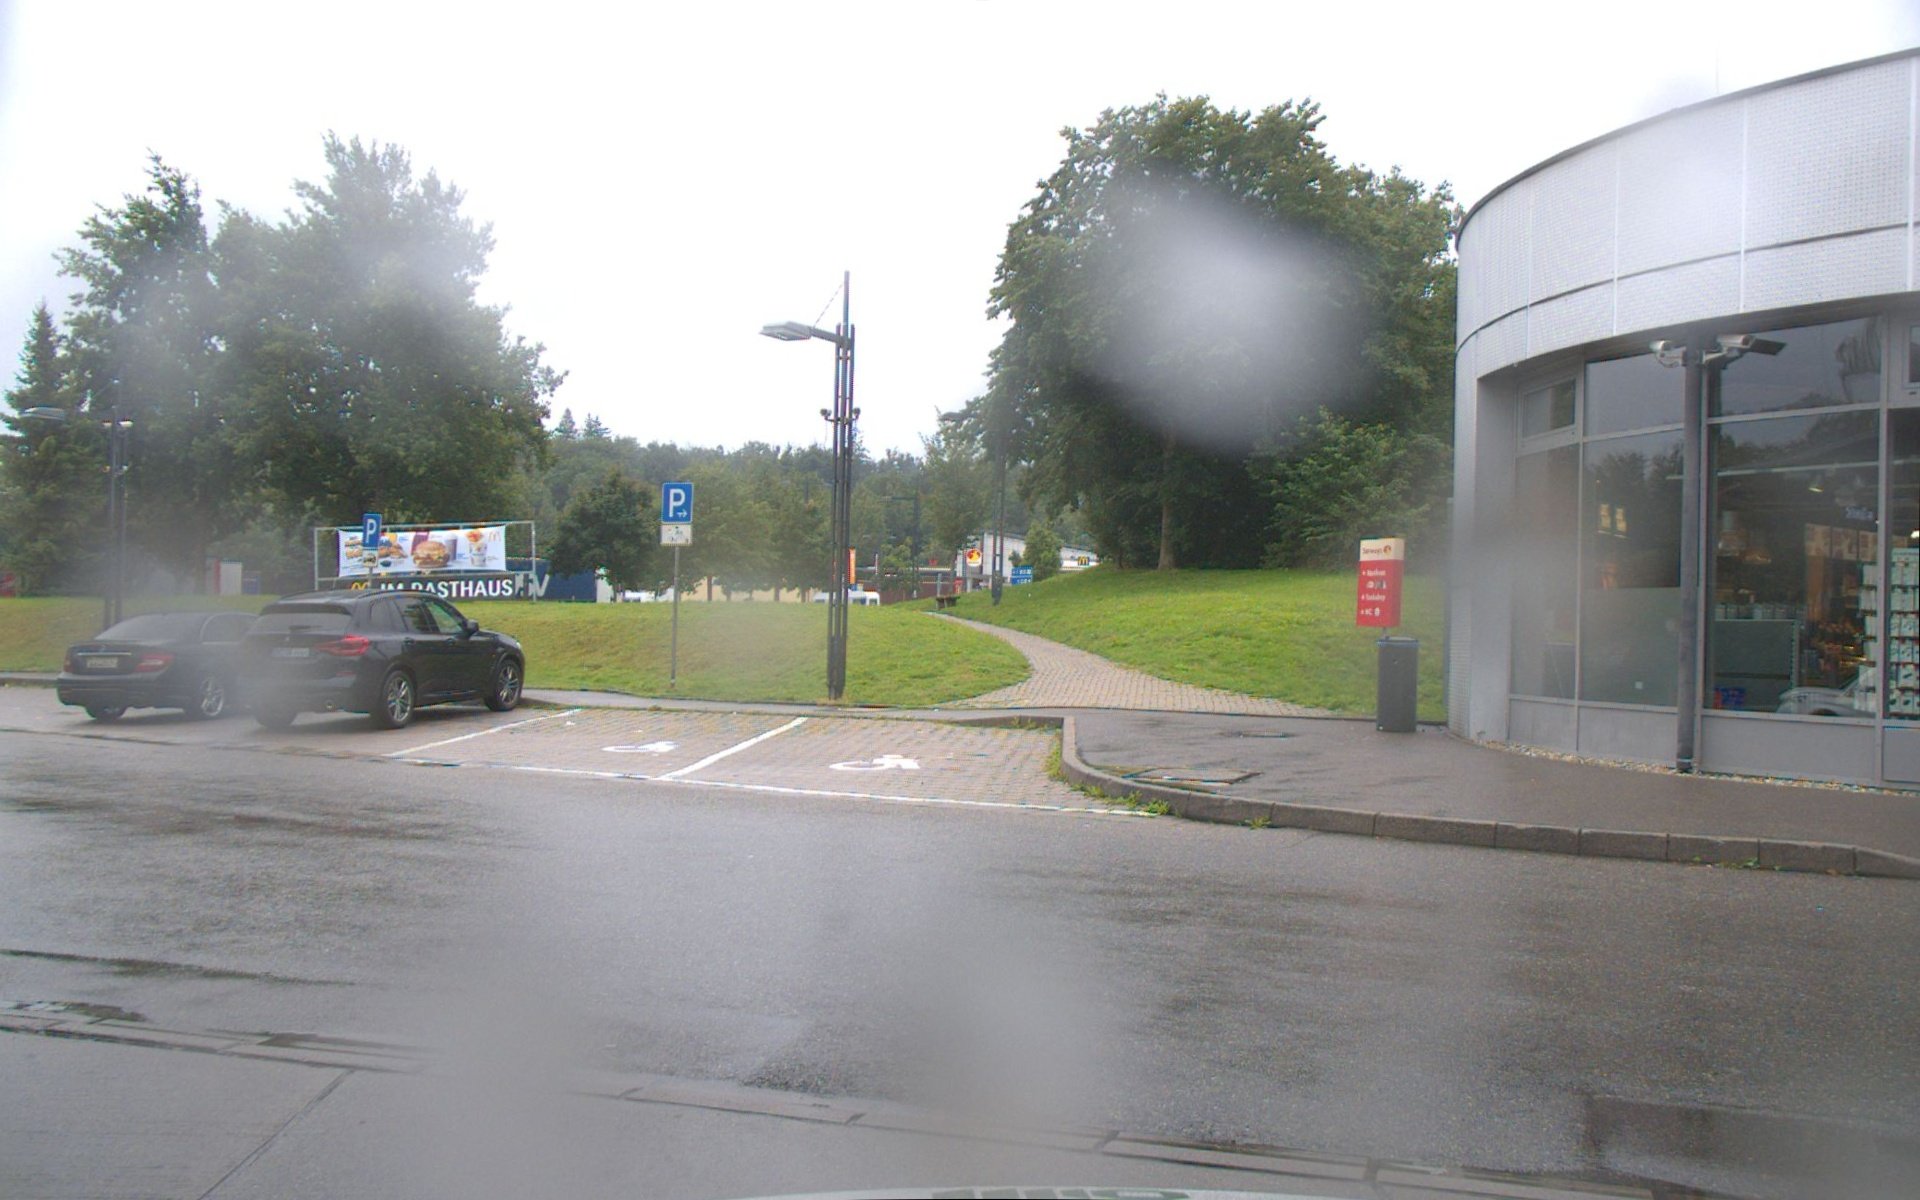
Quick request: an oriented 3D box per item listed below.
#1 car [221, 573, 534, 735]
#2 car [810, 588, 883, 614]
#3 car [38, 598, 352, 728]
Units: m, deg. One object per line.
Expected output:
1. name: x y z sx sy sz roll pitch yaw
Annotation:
1. car: -7.328 0.609 21.332 1.844 1.860 4.417 0 0 11
2. car: -9.169 0.059 133.612 5.310 2.049 2.456 1 0 19
3. car: -10.353 0.782 22.771 1.844 1.592 4.189 0 0 11
